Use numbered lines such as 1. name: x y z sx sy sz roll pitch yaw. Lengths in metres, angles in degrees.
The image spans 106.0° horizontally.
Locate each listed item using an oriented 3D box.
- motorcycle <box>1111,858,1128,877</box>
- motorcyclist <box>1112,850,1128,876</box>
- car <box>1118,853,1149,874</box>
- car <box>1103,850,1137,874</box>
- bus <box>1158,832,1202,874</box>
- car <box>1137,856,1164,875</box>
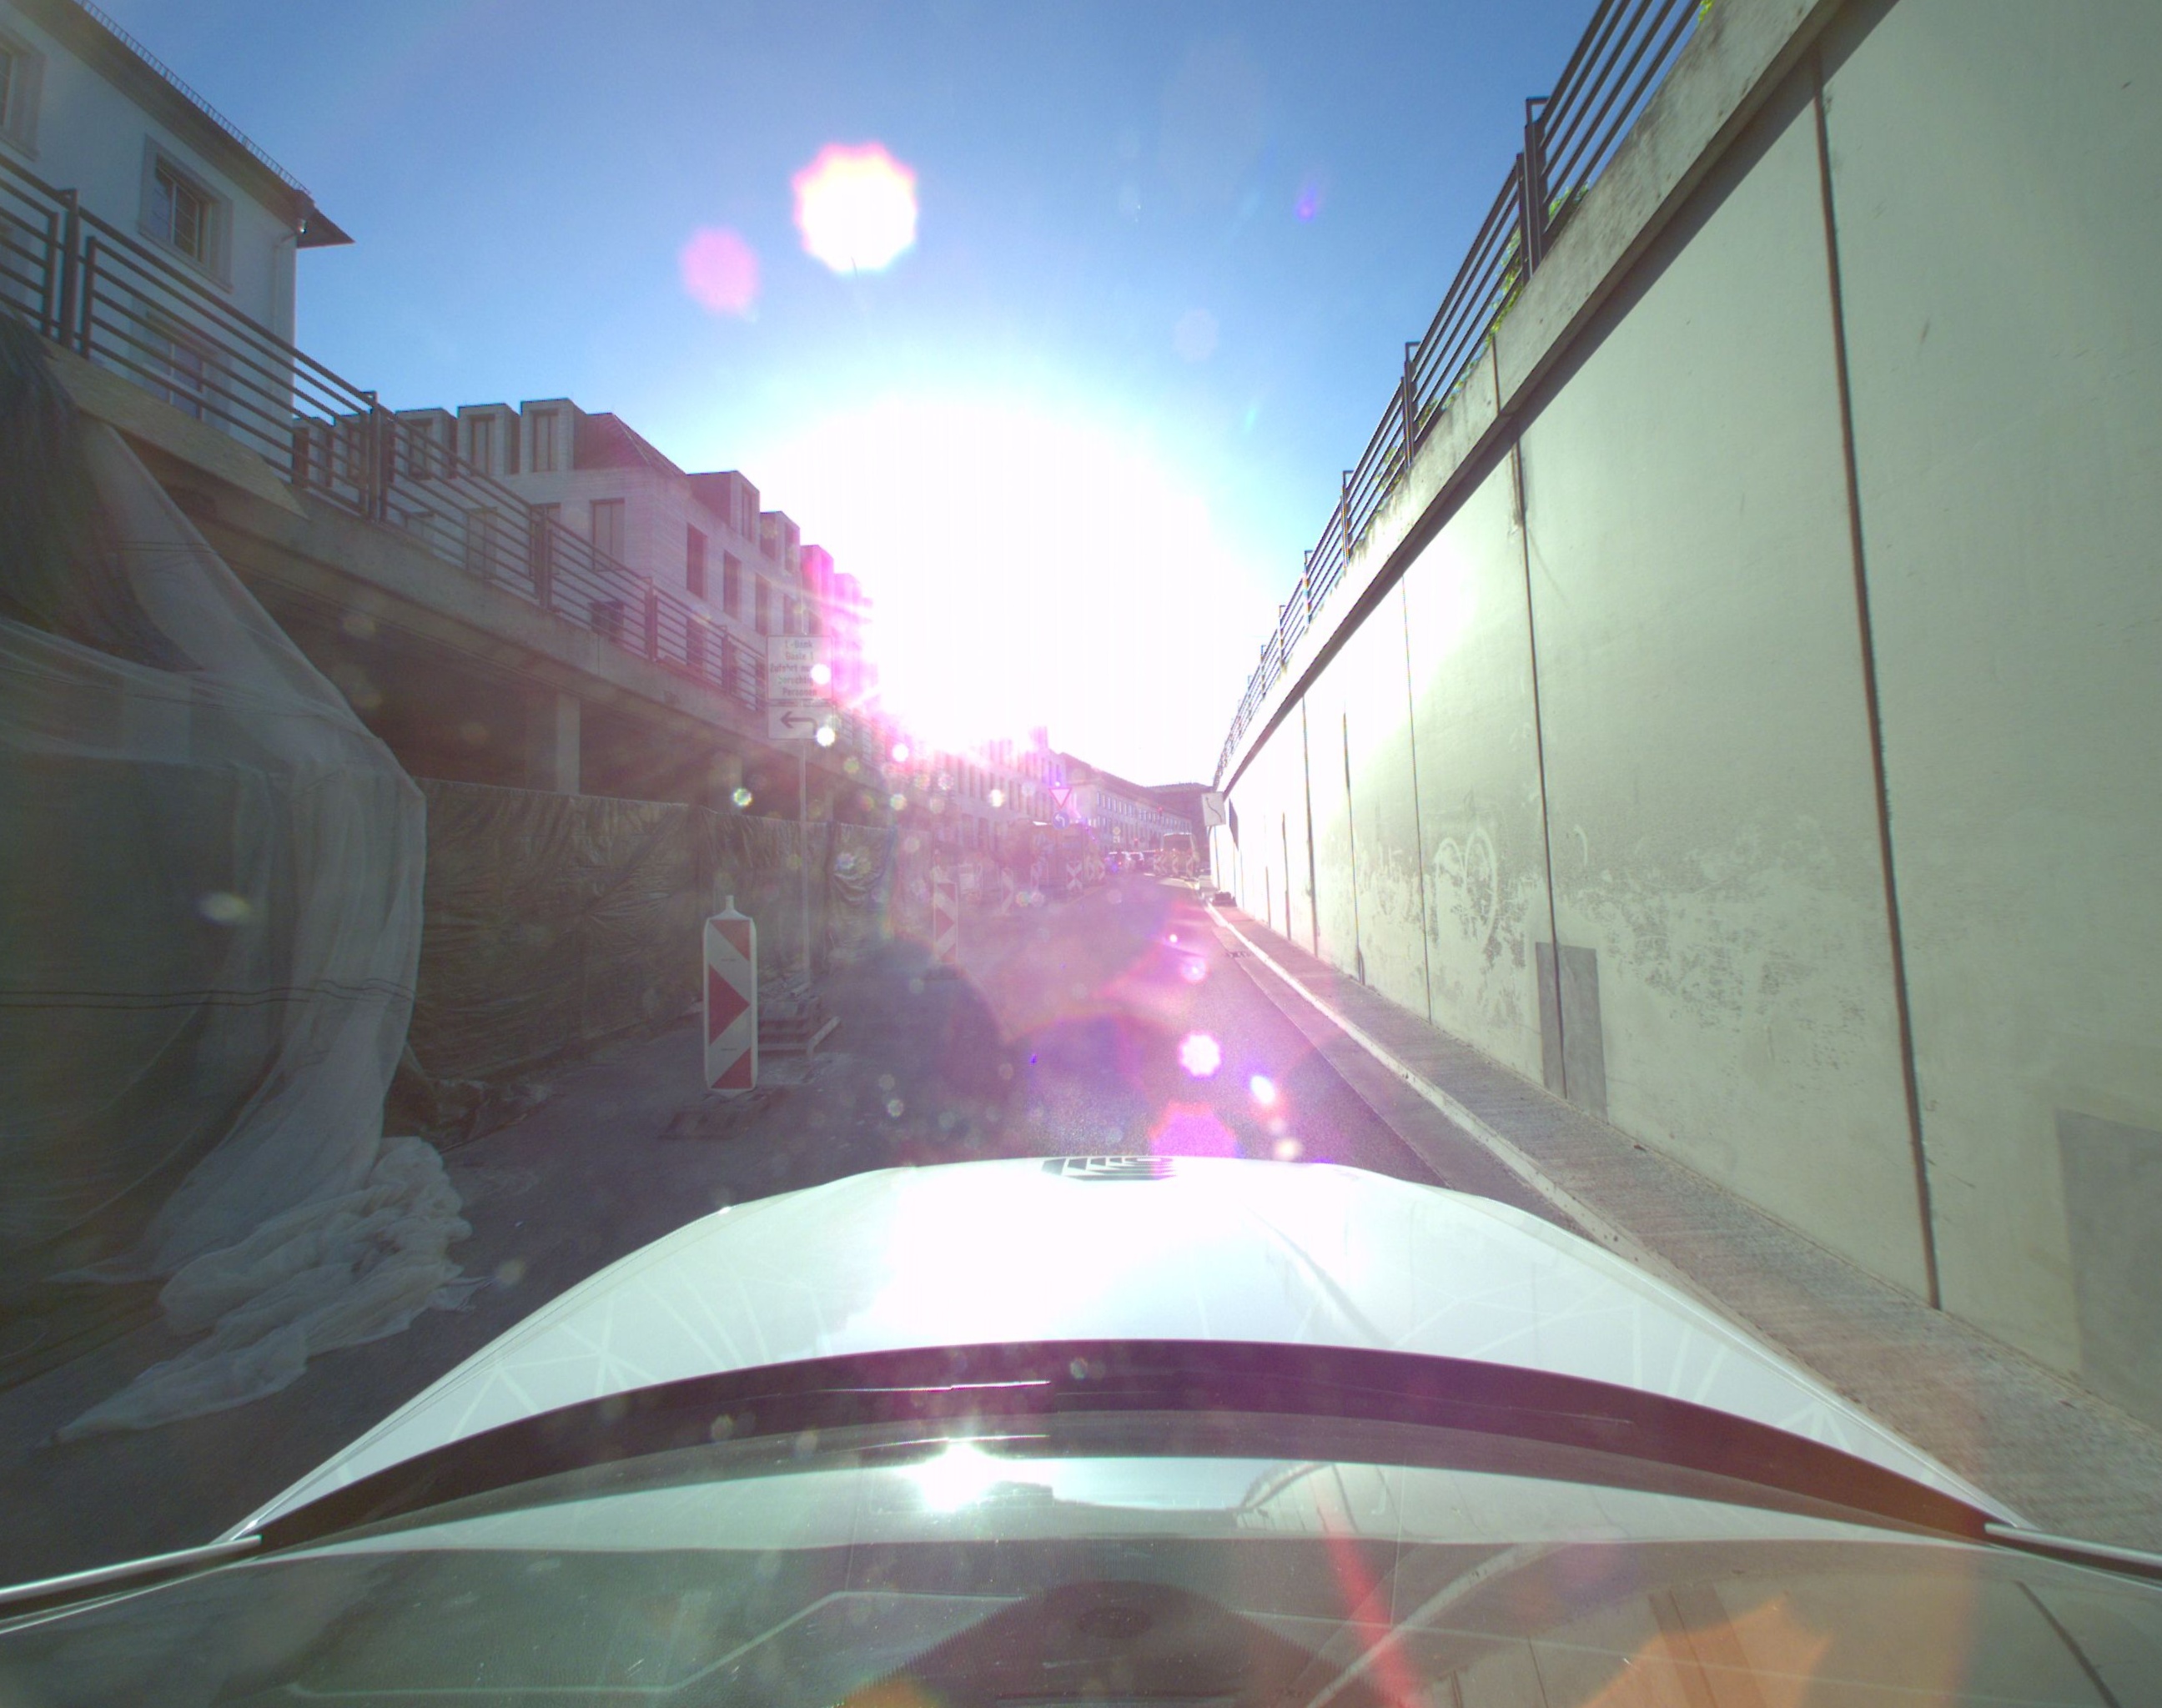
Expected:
1. motorcycle: 2.333 0.828 48.667 0.767 0.993 2.188 -2 -4 9
2. motorcyclist: 2.331 0.532 48.668 0.799 1.504 0.778 -1 -4 8
3. car: 4.009 0.752 61.880 1.809 1.534 4.012 -1 -1 12
4. car: 2.688 0.560 55.507 1.765 1.604 4.011 -1 -1 11
5. bus: 6.397 -0.056 52.311 2.209 2.557 4.443 -1 -1 14
6. car: 6.083 1.019 70.846 1.845 1.534 4.012 -1 -1 11
